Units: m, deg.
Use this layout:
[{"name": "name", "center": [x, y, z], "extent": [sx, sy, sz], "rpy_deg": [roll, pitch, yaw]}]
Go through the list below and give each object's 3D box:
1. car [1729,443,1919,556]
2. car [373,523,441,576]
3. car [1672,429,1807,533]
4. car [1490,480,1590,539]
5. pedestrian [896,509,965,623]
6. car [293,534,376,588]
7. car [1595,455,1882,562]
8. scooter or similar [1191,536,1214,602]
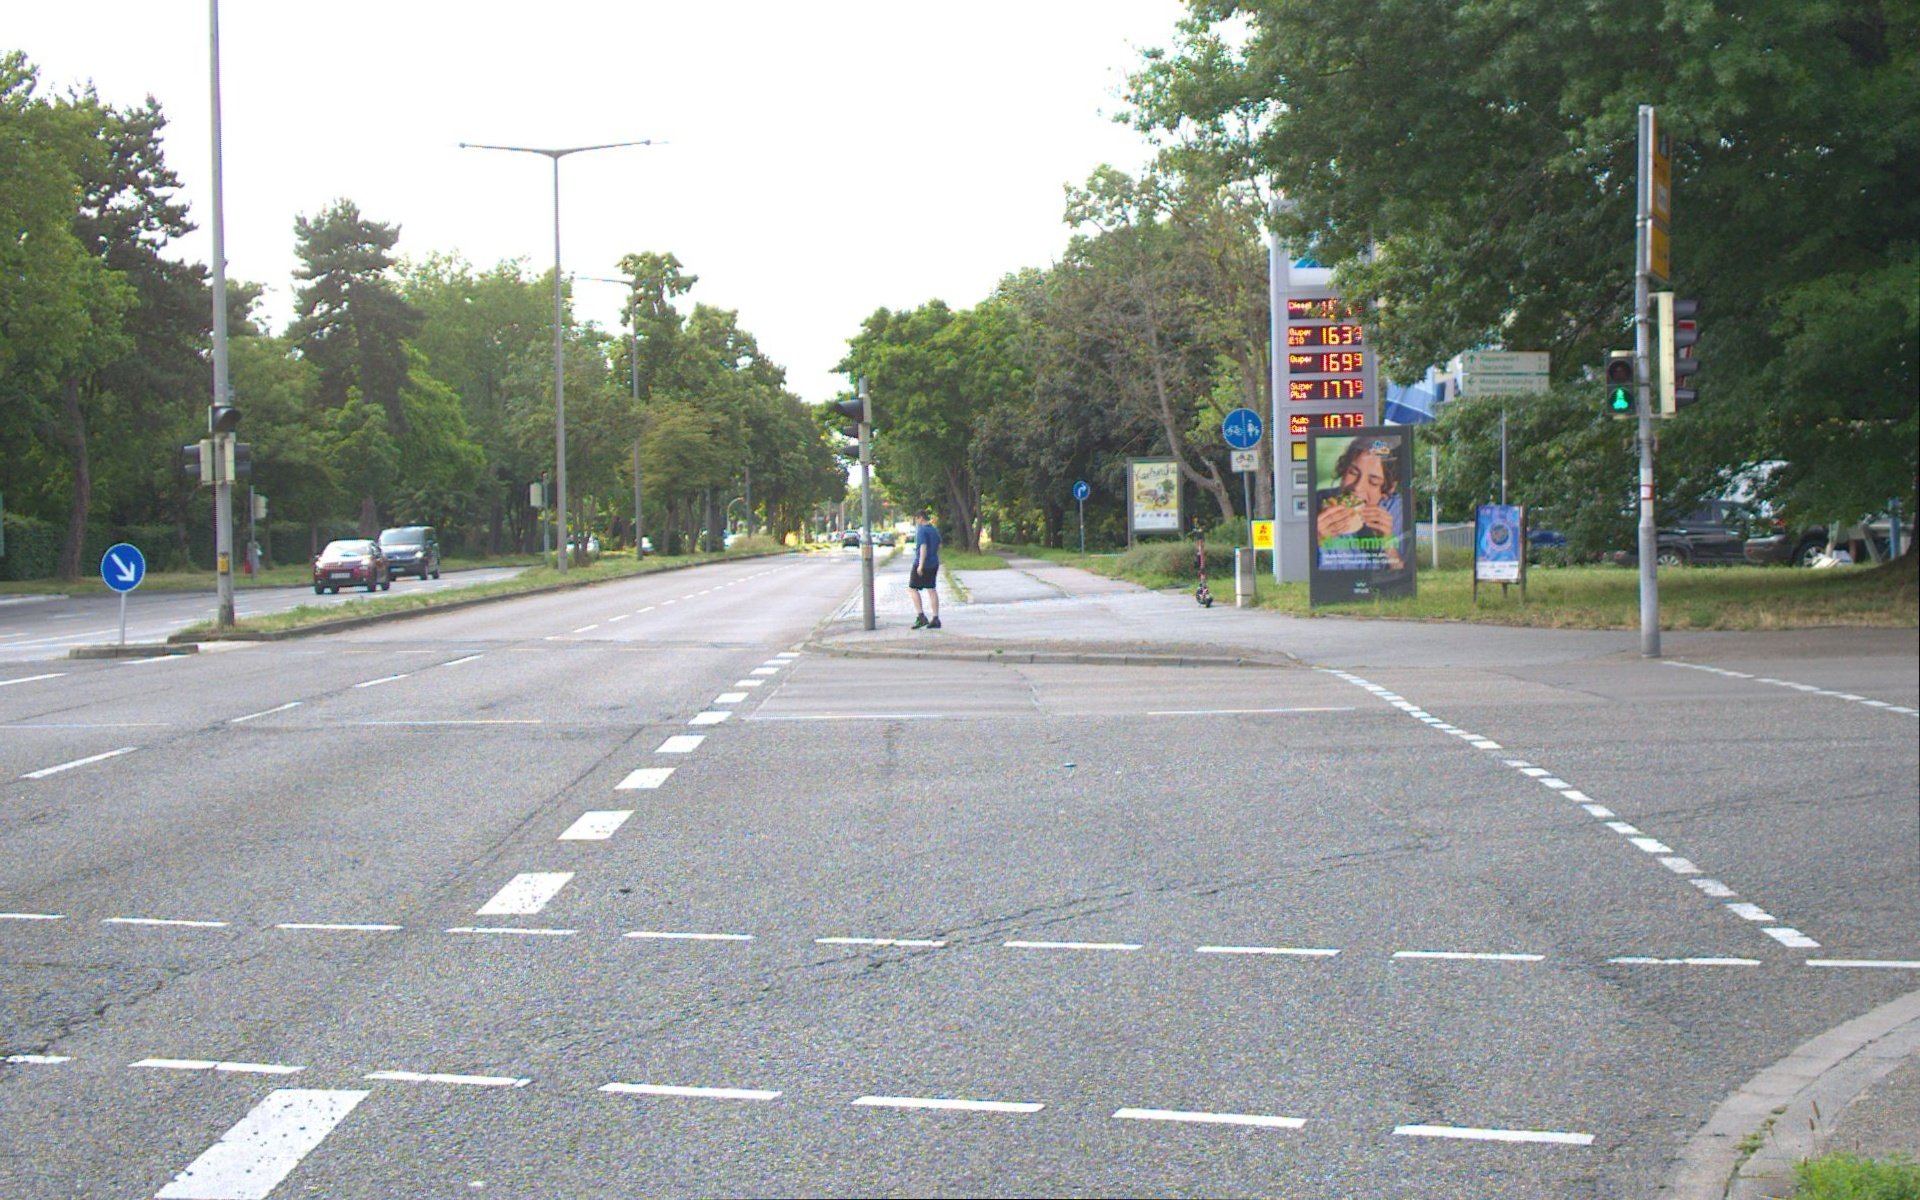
[{"name": "car", "center": [15.914, -1.724, 58.211], "extent": [5.179, 1.820, 2.154], "rpy_deg": [-2, 1, -11]}, {"name": "car", "center": [-20.382, -1.889, 126.856], "extent": [1.765, 1.850, 4.817], "rpy_deg": [-1, 2, -1]}, {"name": "car", "center": [19.159, -2.889, 84.724], "extent": [1.750, 2.445, 5.751], "rpy_deg": [-1, 1, -2]}, {"name": "car", "center": [14.793, -2.301, 87.843], "extent": [1.750, 1.449, 3.741], "rpy_deg": [-1, 1, -2]}, {"name": "pedestrian", "center": [-0.405, -0.469, 47.062], "extent": [0.725, 1.526, 0.760], "rpy_deg": [-2, 1, -17]}, {"name": "car", "center": [-17.902, -1.137, 98.605], "extent": [1.771, 1.460, 4.456], "rpy_deg": [-1, 1, -3]}, {"name": "car", "center": [15.618, -1.833, 69.144], "extent": [5.180, 1.997, 2.154], "rpy_deg": [-1, 1, -4]}, {"name": "scooter or similar", "center": [3.656, -0.480, 51.911], "extent": [0.221, 0.976, 1.272], "rpy_deg": [-1, 1, 0]}]
